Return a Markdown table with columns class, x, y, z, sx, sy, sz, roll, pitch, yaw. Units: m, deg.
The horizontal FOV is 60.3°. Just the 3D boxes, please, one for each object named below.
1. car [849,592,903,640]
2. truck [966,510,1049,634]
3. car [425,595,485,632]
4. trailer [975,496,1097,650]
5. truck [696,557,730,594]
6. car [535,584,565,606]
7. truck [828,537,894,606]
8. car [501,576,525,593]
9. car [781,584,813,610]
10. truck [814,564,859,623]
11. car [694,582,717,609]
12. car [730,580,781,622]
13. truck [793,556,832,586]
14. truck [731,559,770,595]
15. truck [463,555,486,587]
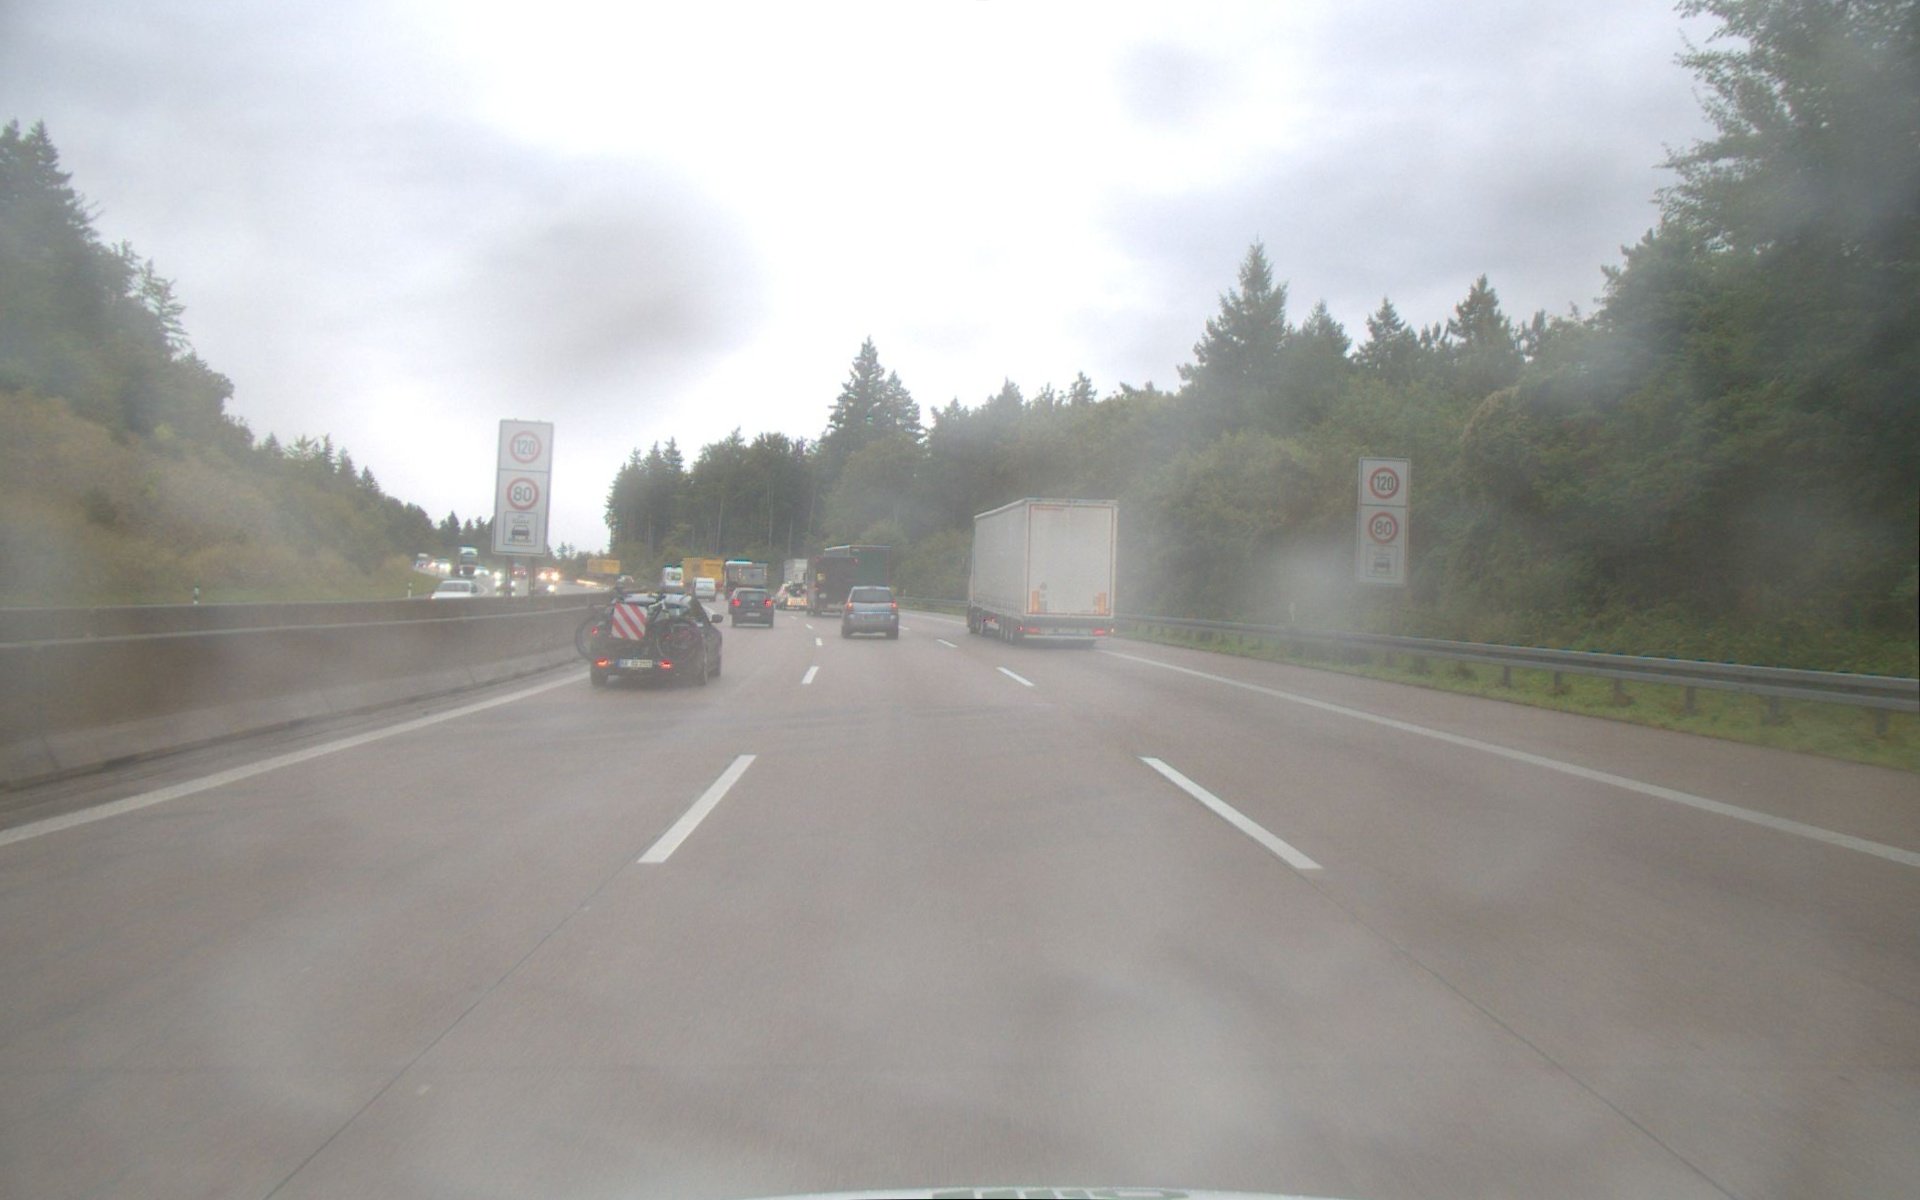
| class | x | y | z | sx | sy | sz | roll | pitch | yaw |
| --- | --- | --- | --- | --- | --- | --- | --- | --- | --- |
| car | -2.617 | 0.473 | 52.273 | 1.522 | 1.375 | 3.683 | 2 | 1 | -1 |
| truck | 1.602 | -0.964 | 58.284 | 2.372 | 4.139 | 4.974 | 1 | 0 | -4 |
| car | -22.174 | 0.565 | 72.730 | 1.742 | 1.544 | 3.996 | 0 | 0 | -5 |
| trailer | 2.128 | -0.798 | 51.039 | 2.372 | 4.139 | 12.045 | 1 | 1 | -4 |
| truck | -29.471 | -2.829 | 197.041 | 3.674 | 4.283 | 6.797 | 0 | 0 | -12 |
| car | -31.581 | -0.376 | 127.341 | 1.743 | 1.667 | 3.994 | 0 | 0 | -7 |
| truck | -6.524 | -1.820 | 107.715 | 3.306 | 4.203 | 10.417 | 1 | 1 | -9 |
| car | -43.200 | -1.501 | 159.898 | 1.743 | 1.667 | 4.246 | 0 | 0 | -8 |
| car | -10.168 | -0.190 | 103.292 | 1.845 | 1.498 | 3.996 | 2 | 1 | -5 |
| truck | -6.630 | -0.426 | 88.202 | 2.225 | 2.937 | 7.895 | 1 | 1 | -5 |
| car | -20.230 | -0.348 | 131.614 | 1.692 | 2.049 | 3.651 | 0 | 0 | -7 |
| car | -7.785 | 0.010 | 63.214 | 1.651 | 1.487 | 3.681 | 2 | 1 | -4 |
| truck | -12.566 | -2.458 | 140.311 | 2.919 | 2.349 | 6.655 | 3 | 0 | -8 |
| truck | -17.833 | -1.983 | 140.516 | 3.026 | 2.956 | 7.887 | 1 | 1 | -9 |
| truck | -68.537 | -4.034 | 233.523 | 2.698 | 4.359 | 8.286 | 1 | 1 | -13 |
